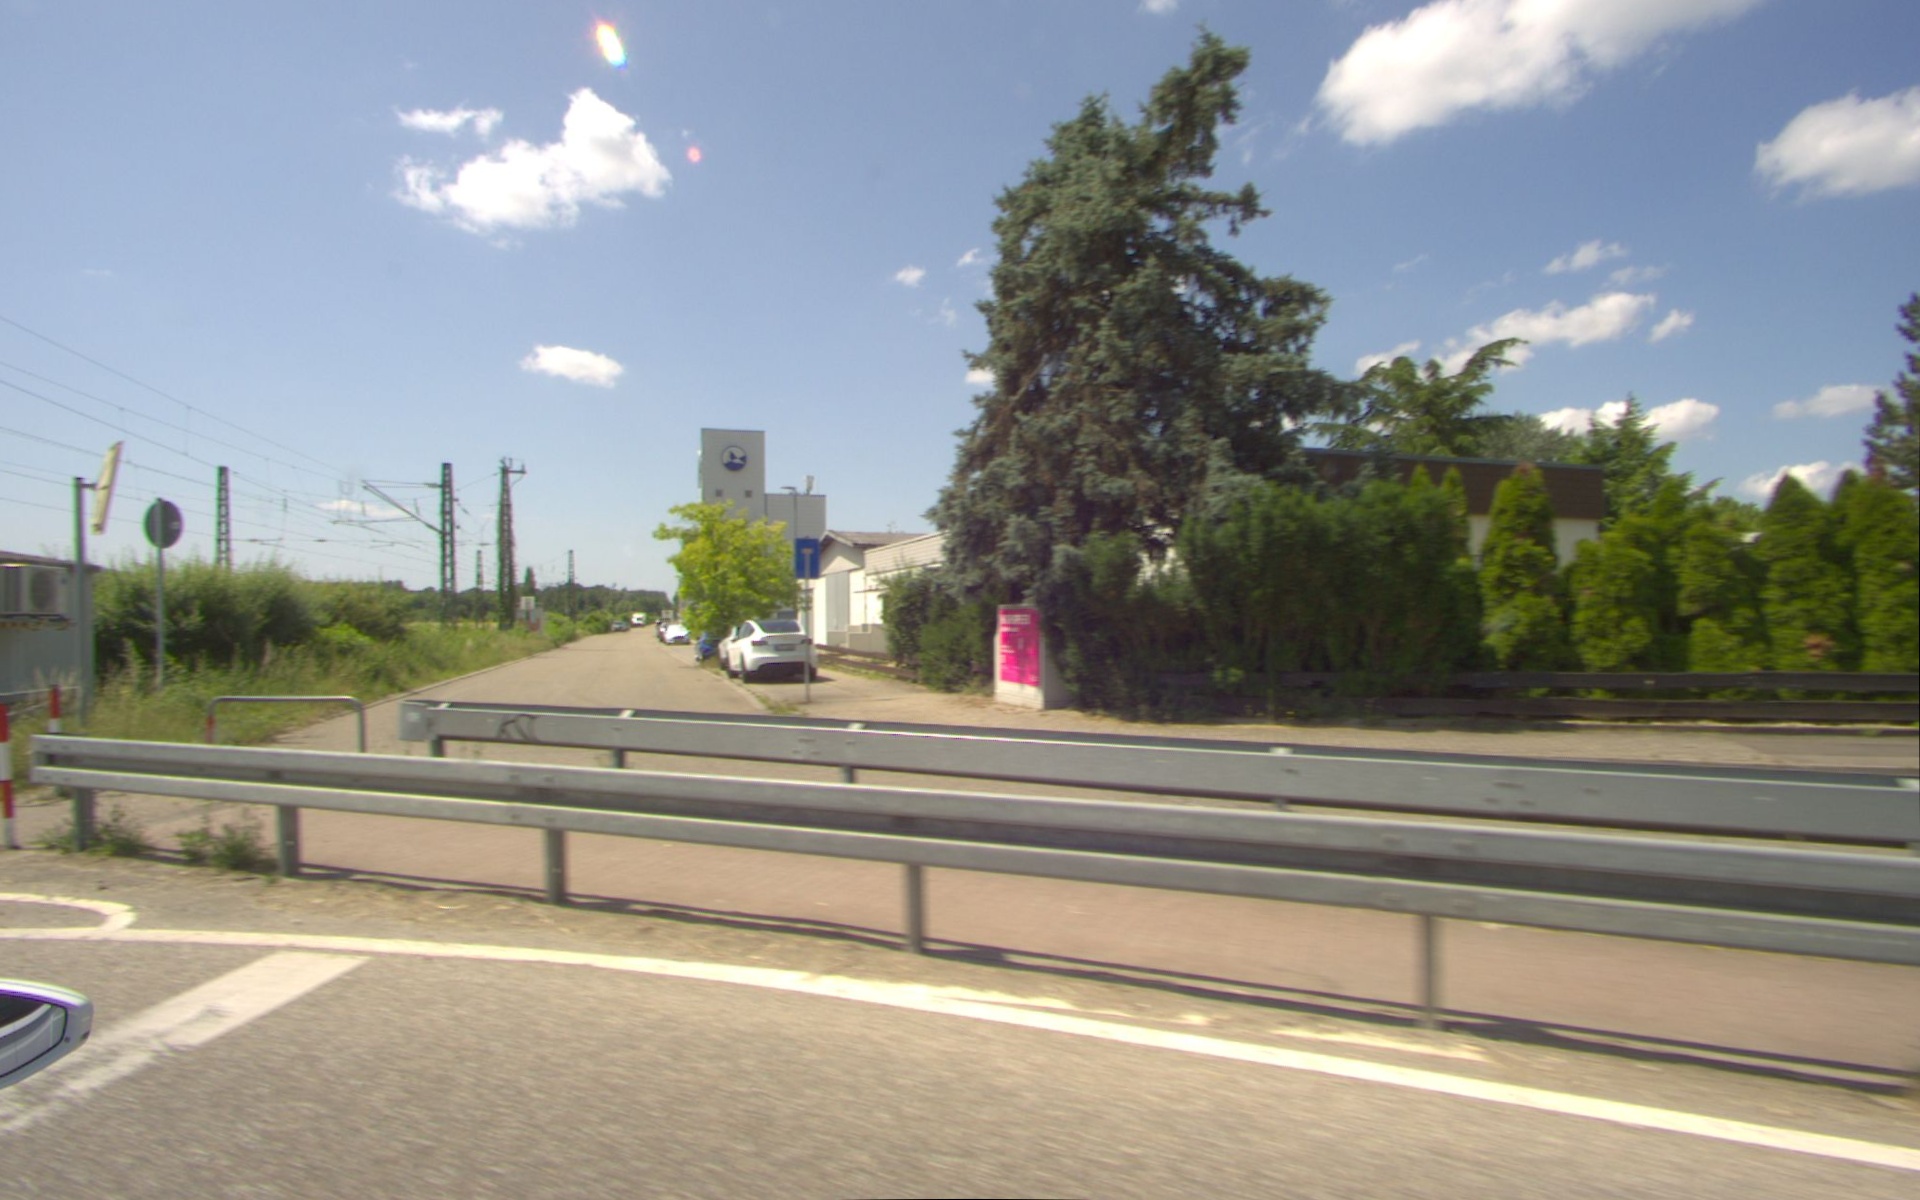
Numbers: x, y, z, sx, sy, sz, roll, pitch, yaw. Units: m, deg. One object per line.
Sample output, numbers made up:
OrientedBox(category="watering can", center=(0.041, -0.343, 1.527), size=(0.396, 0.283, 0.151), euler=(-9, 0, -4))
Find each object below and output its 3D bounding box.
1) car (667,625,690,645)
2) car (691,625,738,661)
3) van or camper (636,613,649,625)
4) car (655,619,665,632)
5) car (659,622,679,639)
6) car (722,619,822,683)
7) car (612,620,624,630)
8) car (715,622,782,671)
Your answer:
OrientedBox(category="car", center=(-21.170, 2.614, 75.338), size=(1.568, 1.472, 3.327), euler=(0, -1, -17))
OrientedBox(category="car", center=(-10.355, 1.784, 42.176), size=(1.554, 1.394, 3.047), euler=(0, -1, -21))
OrientedBox(category="van or camper", center=(-67.709, 4.037, 213.359), size=(2.462, 2.482, 4.855), euler=(0, -1, -16))
OrientedBox(category="car", center=(-35.456, 2.991, 118.361), size=(1.194, 1.497, 3.171), euler=(0, -1, -17))
OrientedBox(category="car", center=(-25.165, 2.622, 86.547), size=(1.568, 1.472, 3.327), euler=(0, -1, -17))
OrientedBox(category="car", center=(-5.154, 1.298, 27.001), size=(1.966, 1.529, 4.443), euler=(0, 0, -20))
OrientedBox(category="car", center=(-52.107, 3.857, 152.705), size=(1.622, 1.497, 2.897), euler=(0, -1, -17))
OrientedBox(category="car", center=(-6.943, 1.477, 32.648), size=(1.623, 1.473, 3.992), euler=(1, -2, -19))
